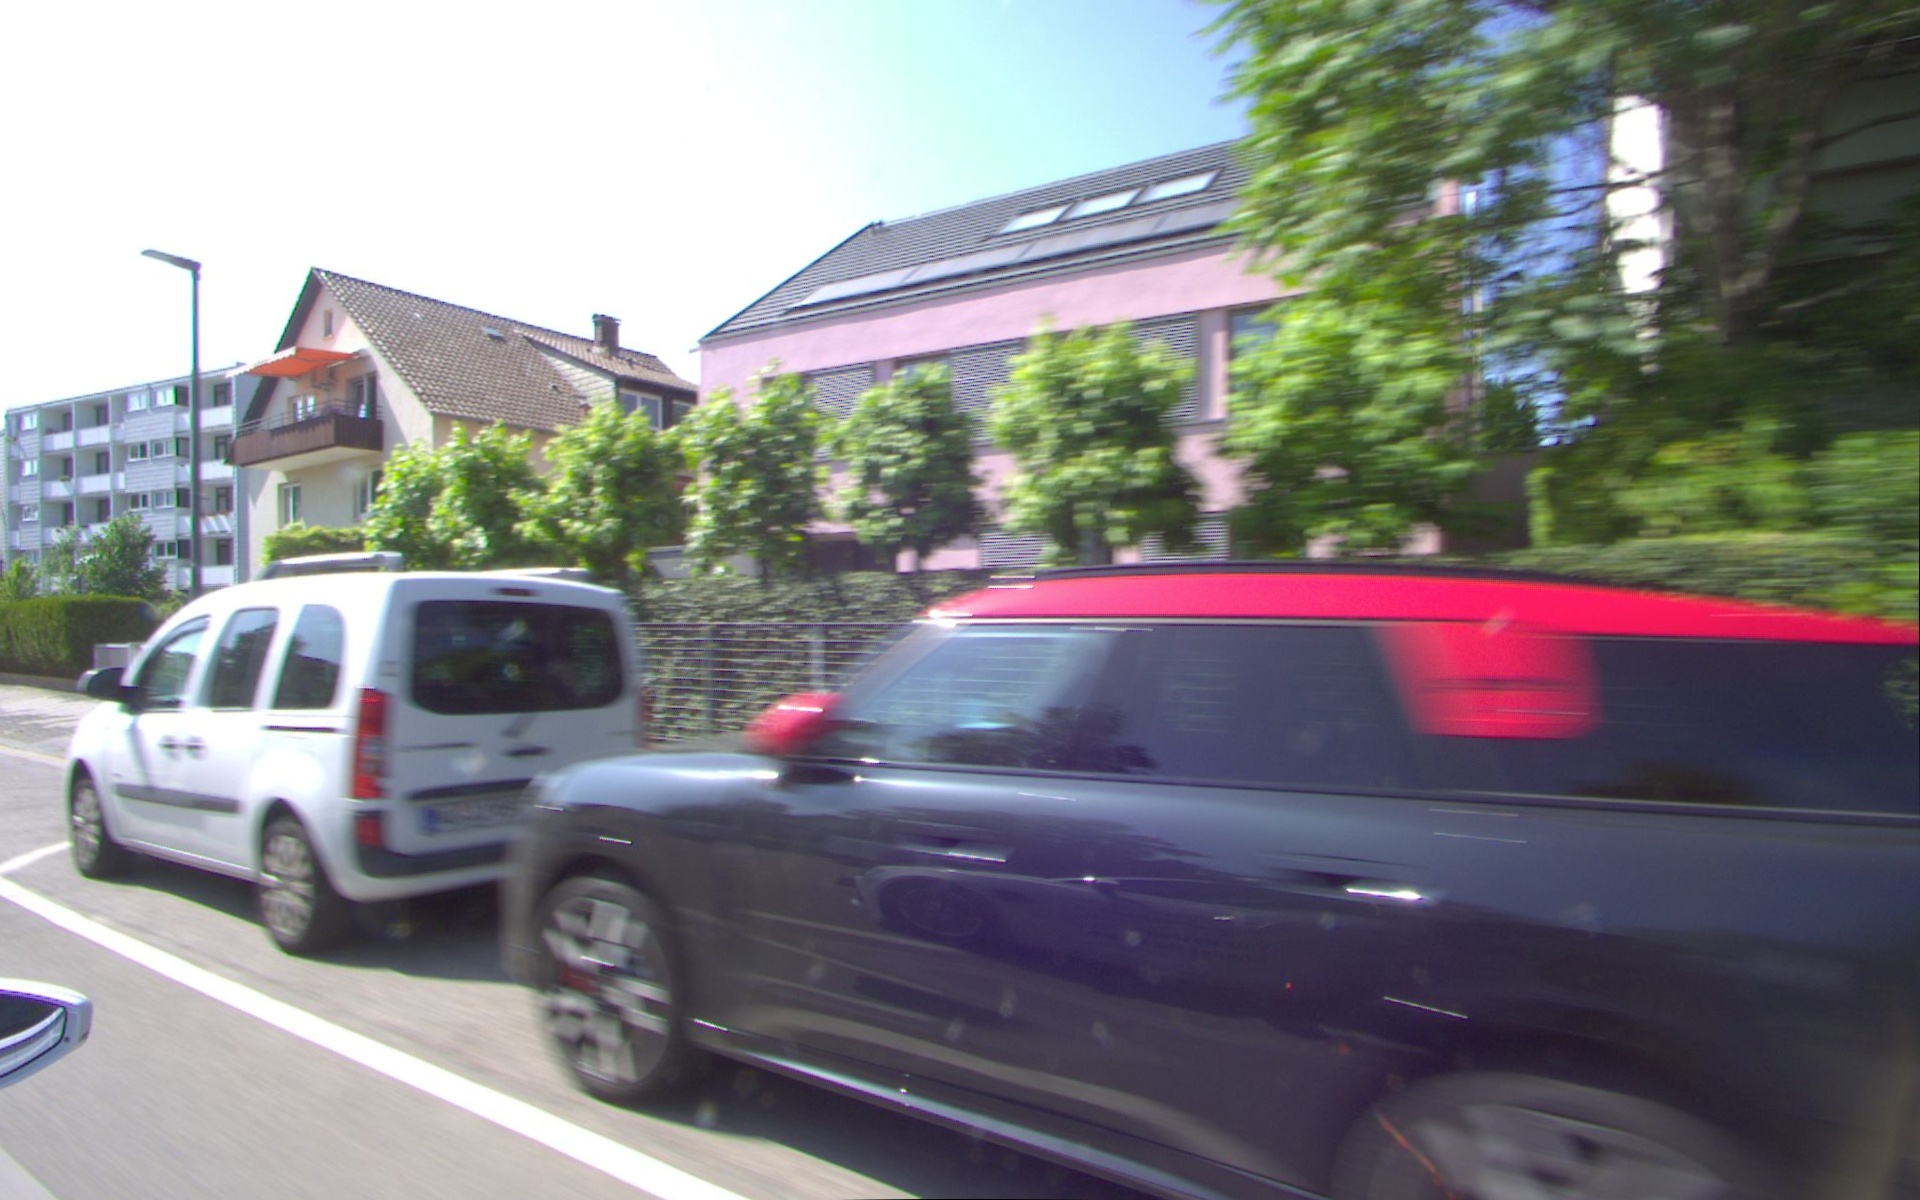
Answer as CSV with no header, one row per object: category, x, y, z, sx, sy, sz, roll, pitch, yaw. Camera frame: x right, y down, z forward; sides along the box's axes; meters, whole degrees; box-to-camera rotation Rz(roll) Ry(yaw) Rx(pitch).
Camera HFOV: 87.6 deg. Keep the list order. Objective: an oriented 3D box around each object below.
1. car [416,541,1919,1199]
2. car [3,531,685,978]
car,0.270,0.732,3.231,4.252,1.614,1.758,0,0,33
car,-3.932,0.730,6.138,4.534,1.849,1.759,-1,-3,33
